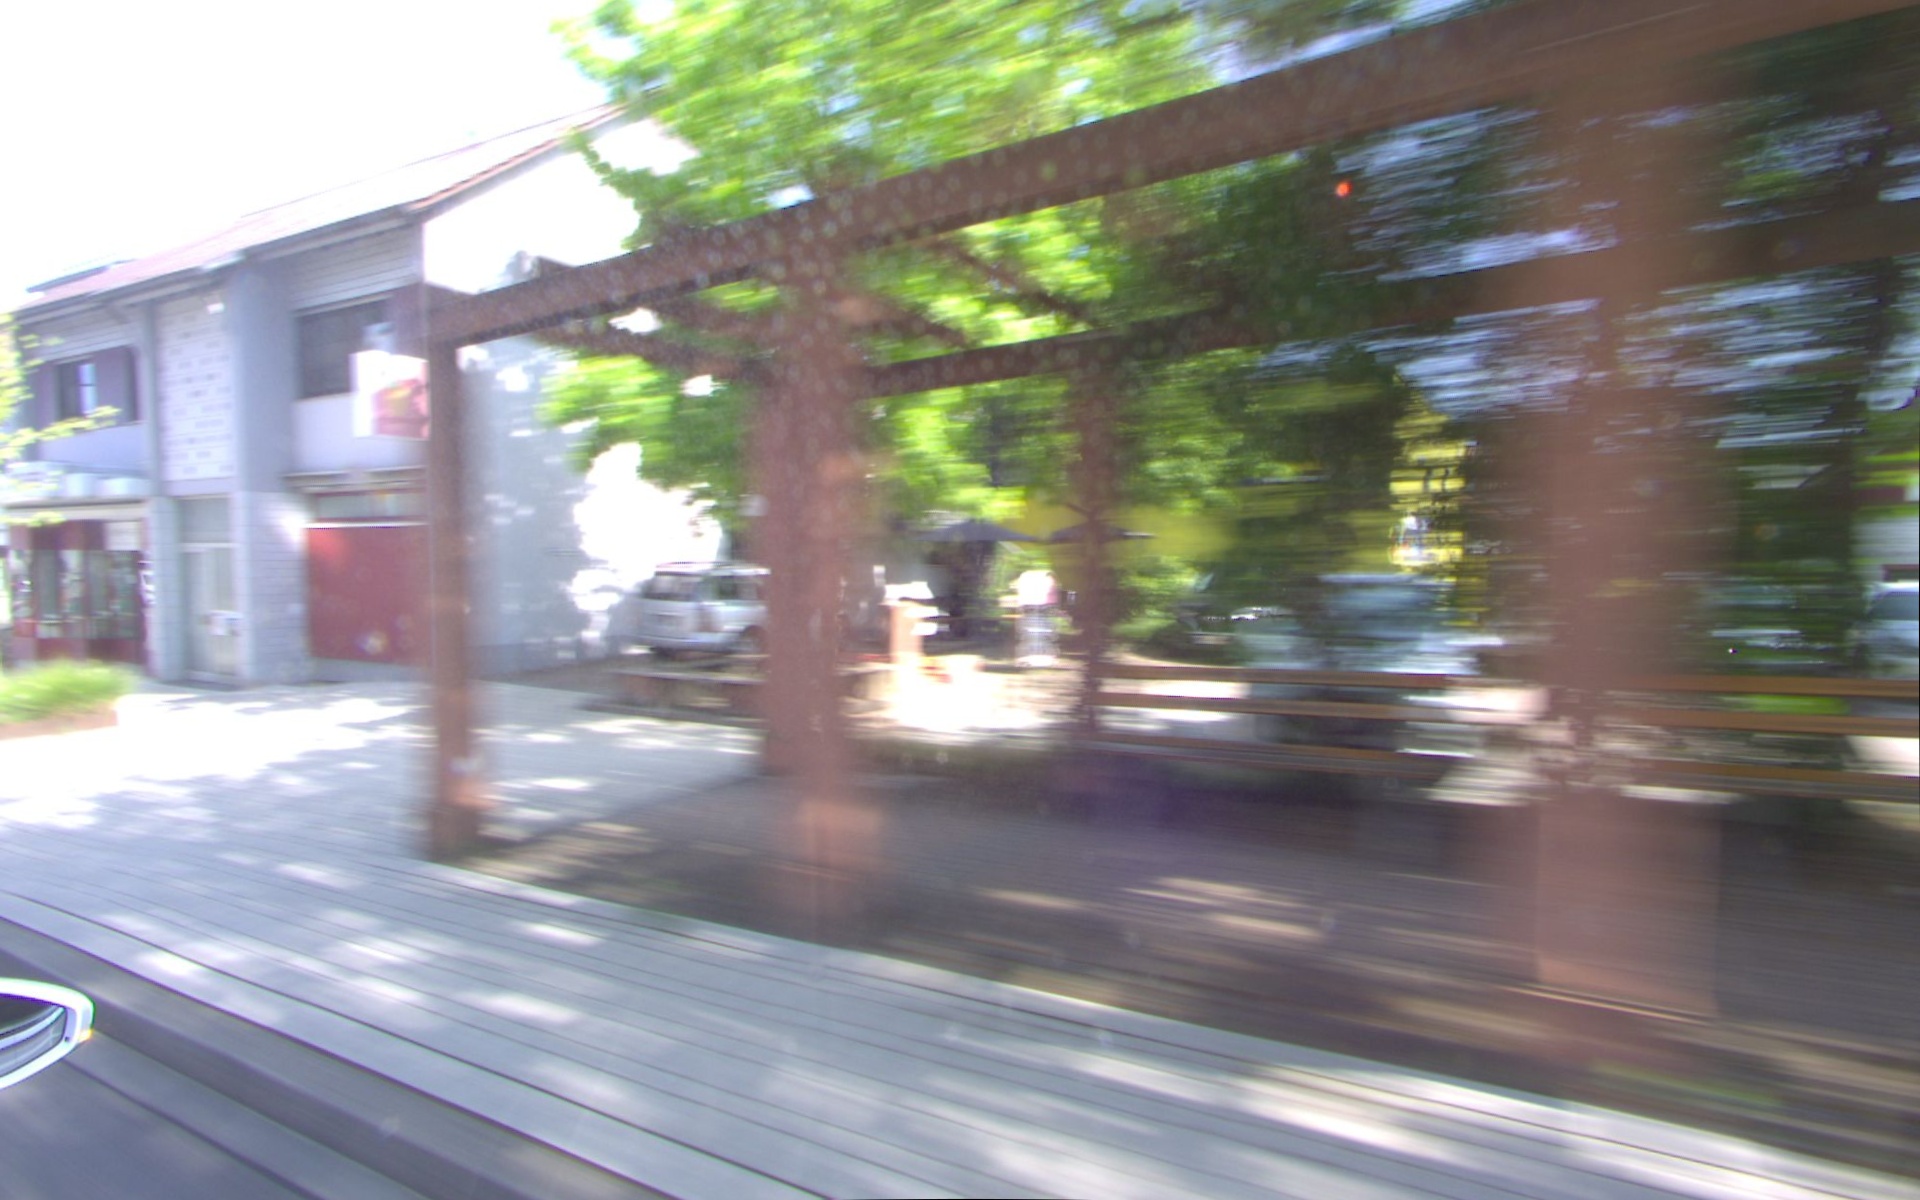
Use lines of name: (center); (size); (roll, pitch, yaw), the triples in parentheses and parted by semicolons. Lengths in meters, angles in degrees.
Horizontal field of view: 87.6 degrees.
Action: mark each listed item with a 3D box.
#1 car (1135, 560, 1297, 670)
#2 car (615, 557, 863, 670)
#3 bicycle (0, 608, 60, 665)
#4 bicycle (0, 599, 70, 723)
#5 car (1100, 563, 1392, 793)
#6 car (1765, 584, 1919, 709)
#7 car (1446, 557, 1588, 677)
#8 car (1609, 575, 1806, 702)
car: (4.837, 0.162, 18.534); (1.882, 1.731, 3.980); (3, 4, 29)
car: (-3.308, 0.158, 15.620); (1.699, 1.530, 3.690); (0, 1, 31)
bicycle: (-21.816, 0.844, 22.852); (0.541, 1.252, 1.799); (1, 3, 31)
bicycle: (-11.052, 0.665, 11.629); (1.964, 1.298, 0.527); (1, 5, 35)
car: (2.858, 0.465, 9.185); (1.698, 1.566, 4.475); (0, 2, 28)
car: (12.683, 0.545, 13.895); (1.629, 1.510, 3.867); (0, 1, 28)
car: (9.364, 0.224, 16.992); (1.854, 1.764, 4.170); (0, 1, 28)
car: (10.955, 0.463, 14.959); (1.729, 1.633, 3.968); (0, 1, 28)
